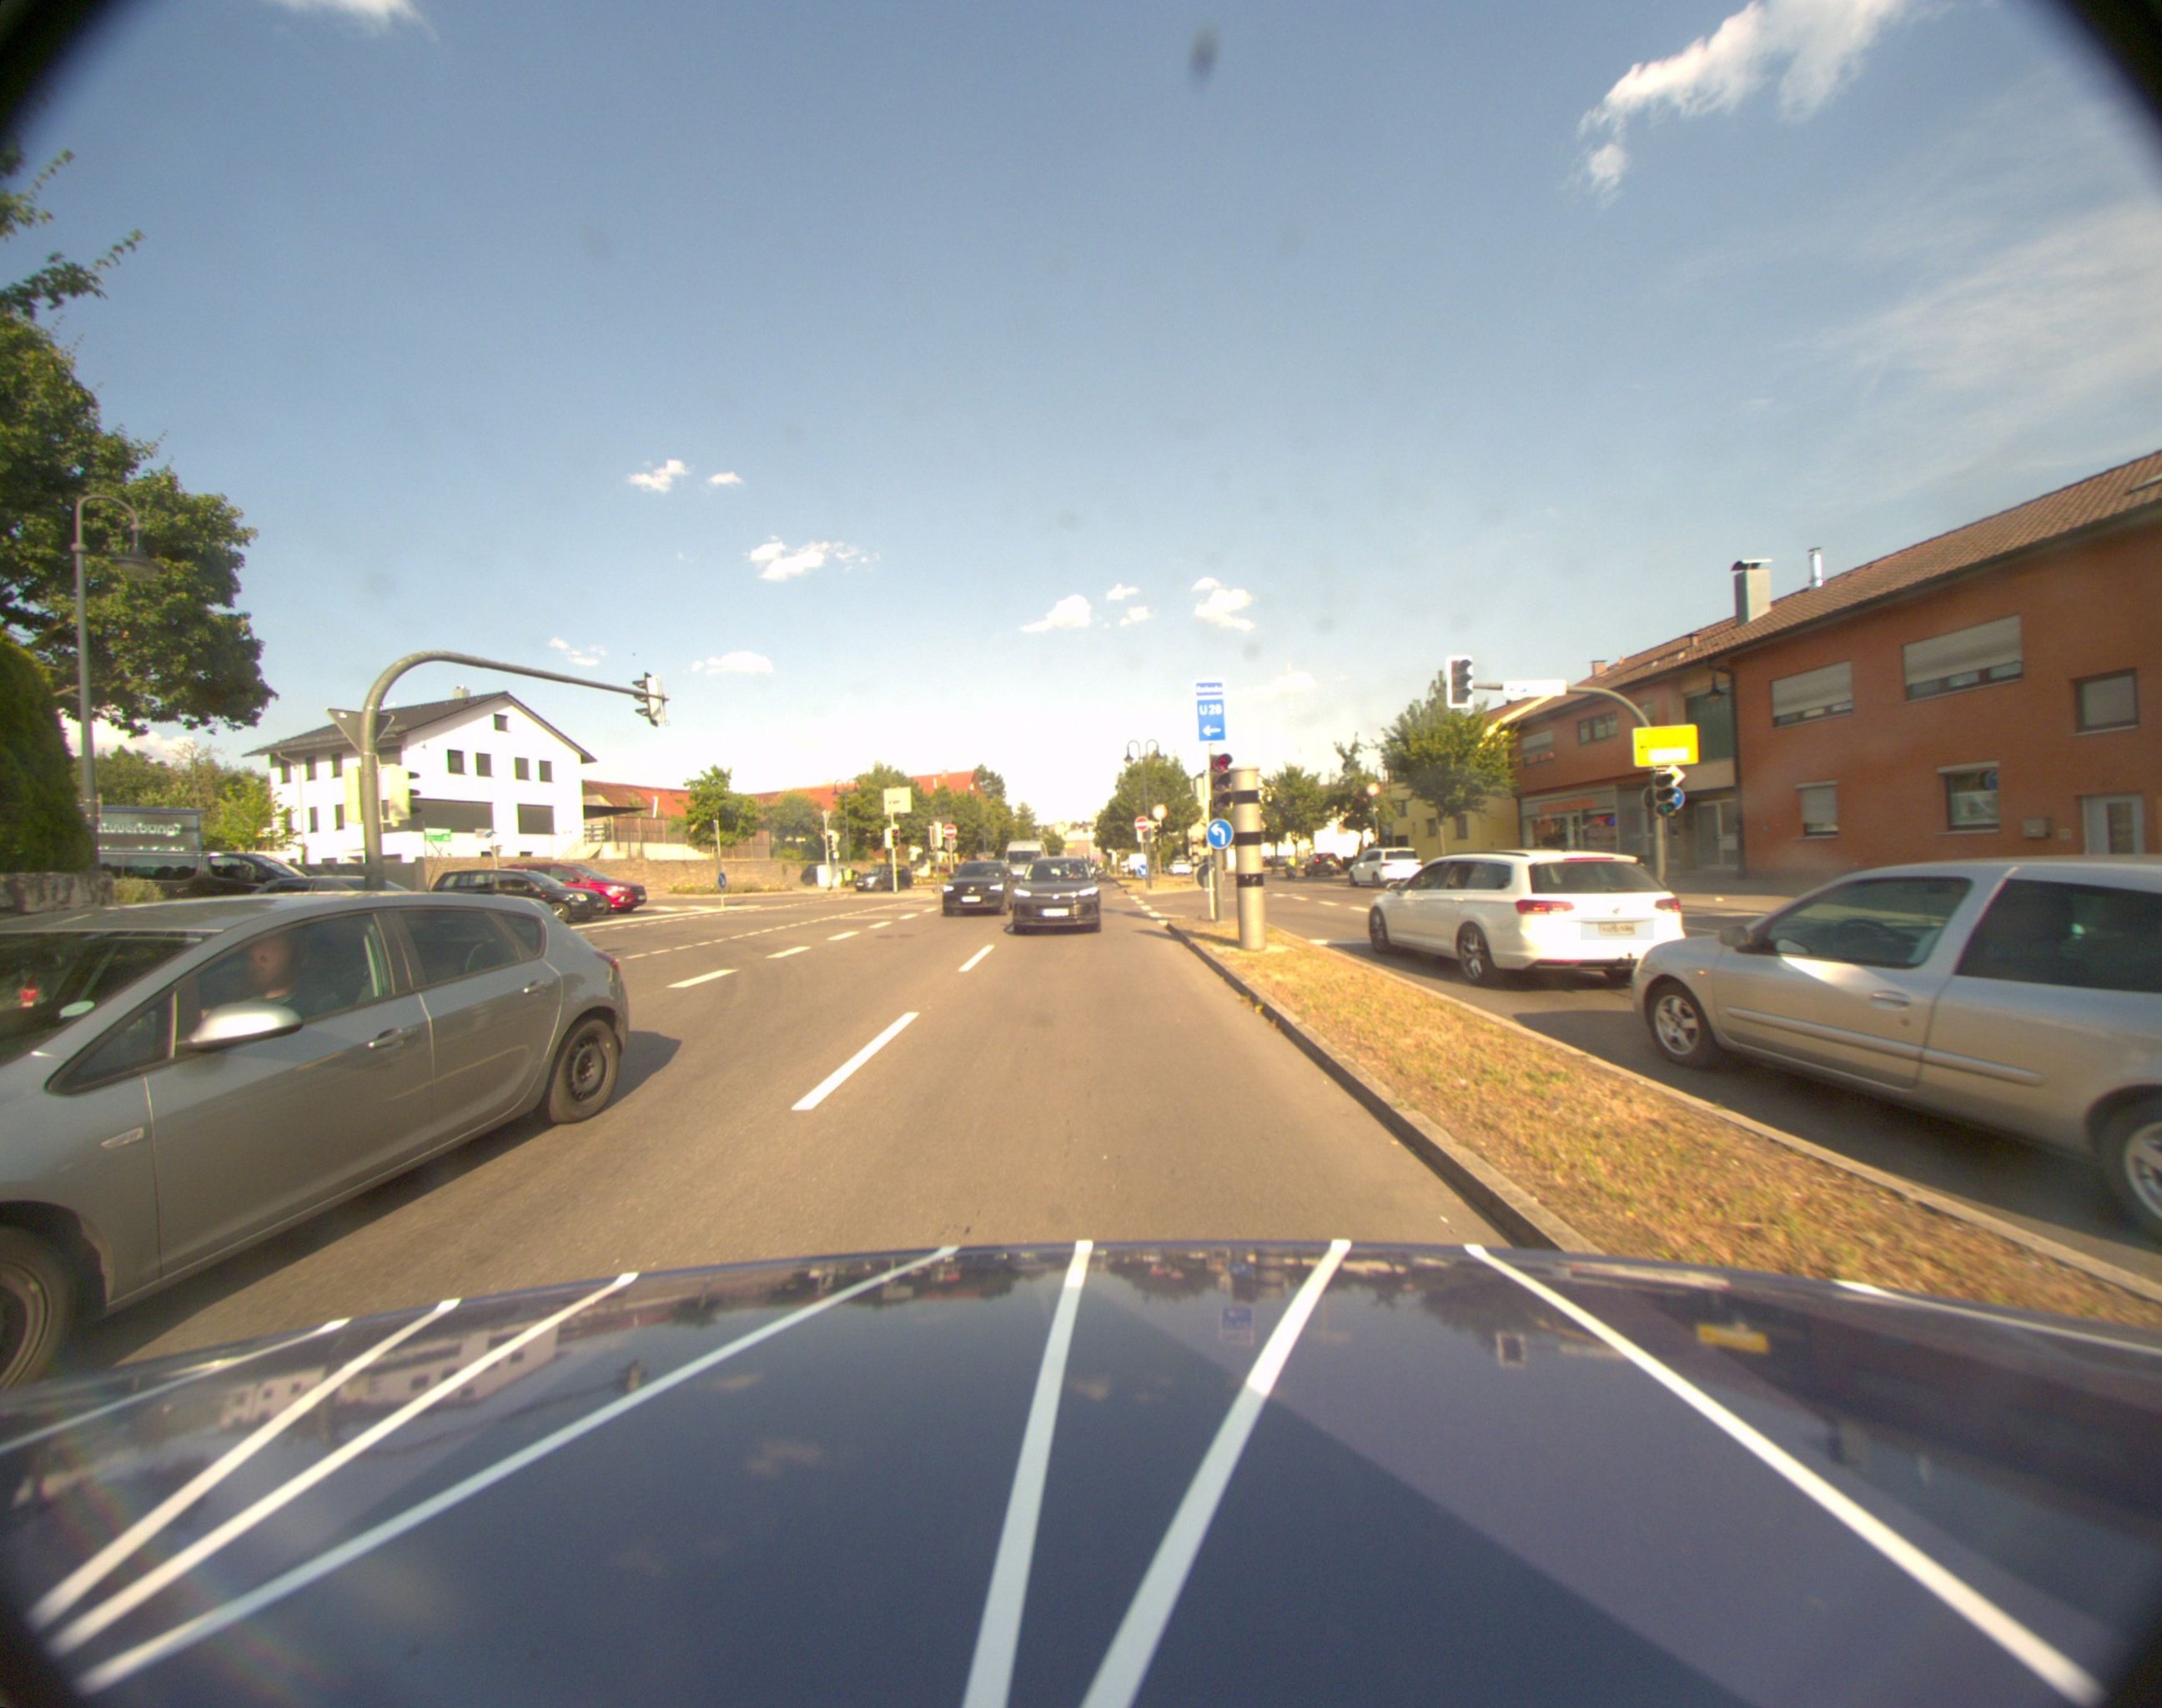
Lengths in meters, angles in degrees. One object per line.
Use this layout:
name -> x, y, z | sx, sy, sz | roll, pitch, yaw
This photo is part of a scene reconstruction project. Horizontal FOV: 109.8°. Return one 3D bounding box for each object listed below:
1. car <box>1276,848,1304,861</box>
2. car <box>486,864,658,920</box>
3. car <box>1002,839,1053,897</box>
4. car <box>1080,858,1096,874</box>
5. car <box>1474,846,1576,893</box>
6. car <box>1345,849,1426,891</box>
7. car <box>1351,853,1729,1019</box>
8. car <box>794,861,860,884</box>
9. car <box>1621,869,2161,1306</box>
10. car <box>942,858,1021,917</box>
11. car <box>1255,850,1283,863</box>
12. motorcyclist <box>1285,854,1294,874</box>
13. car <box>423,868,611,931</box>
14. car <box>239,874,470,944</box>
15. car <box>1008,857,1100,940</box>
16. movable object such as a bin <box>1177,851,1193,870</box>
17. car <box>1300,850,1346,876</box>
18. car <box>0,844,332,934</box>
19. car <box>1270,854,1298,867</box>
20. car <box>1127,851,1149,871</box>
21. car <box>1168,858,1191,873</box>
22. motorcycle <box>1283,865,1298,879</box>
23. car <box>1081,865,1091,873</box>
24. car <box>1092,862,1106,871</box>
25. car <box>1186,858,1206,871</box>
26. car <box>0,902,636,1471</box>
car -> 25.532, 0.099, 92.770 | 3.438, 1.534, 1.617 | -1, -1, -38
car -> -16.540, 1.205, 24.859 | 4.251, 1.616, 1.861 | -2, 0, -5
car -> -2.616, 0.666, 38.852 | 2.040, 2.642, 6.649 | -1, 0, 0
car -> 0.934, 1.542, 97.739 | 1.816, 1.860, 4.001 | -2, -1, 3
car -> 15.916, 0.537, 27.453 | 1.595, 1.430, 3.776 | -6, -1, 5
car -> 12.839, 0.638, 32.370 | 1.690, 1.602, 4.413 | -2, 0, 1
car -> 5.077, 0.789, 9.342 | 1.840, 1.479, 4.566 | -2, -1, 0
car -> -17.690, 1.292, 53.004 | 4.072, 1.447, 1.680 | -2, 0, 13
car -> 4.603, 0.843, 3.653 | 1.593, 1.419, 3.579 | -2, 0, 3
car -> -2.960, 0.971, 23.325 | 1.792, 1.596, 4.057 | -2, -1, 1
car -> 24.131, 0.307, 97.432 | 3.417, 1.616, 1.857 | 0, -1, -41
motorcyclist -> 12.902, 0.638, 47.051 | 0.404, 1.221, 0.461 | -2, 0, -2
car -> -15.381, 1.210, 20.921 | 3.799, 1.533, 1.597 | -1, 0, -11
car -> -16.526, 1.218, 17.426 | 3.608, 1.441, 1.626 | 0, 1, -3
car -> -0.507, 0.909, 17.056 | 1.768, 1.582, 4.057 | -2, -1, 1
movable object such as a bin -> 13.922, 0.886, 102.131 | 1.556, 2.447, 4.979 | -1, 0, 2
car -> 16.051, 0.596, 50.603 | 1.859, 1.586, 4.461 | -2, -1, 3
car -> -22.402, 0.790, 18.775 | 5.187, 1.920, 1.995 | -1, -1, -33
car -> 25.501, 0.825, 95.564 | 3.438, 1.555, 1.583 | -1, -1, -38
car -> 7.146, 0.903, 95.730 | 2.090, 2.461, 5.478 | -2, -1, -2
car -> 9.820, 1.136, 76.064 | 1.761, 1.403, 4.000 | -2, -1, 0
motorcycle -> 12.929, 1.088, 46.888 | 0.413, 0.855, 1.763 | -2, -1, -1
car -> 0.862, 2.489, 127.909 | 1.530, 1.353, 2.793 | -2, -1, 4
car -> 3.241, 2.186, 136.938 | 1.780, 1.516, 3.844 | -2, -1, 14
car -> 13.365, 1.224, 88.473 | 1.761, 1.403, 4.000 | -2, -1, 0
car -> -3.843, 1.041, 2.966 | 1.651, 1.414, 4.144 | -1, 0, 1
